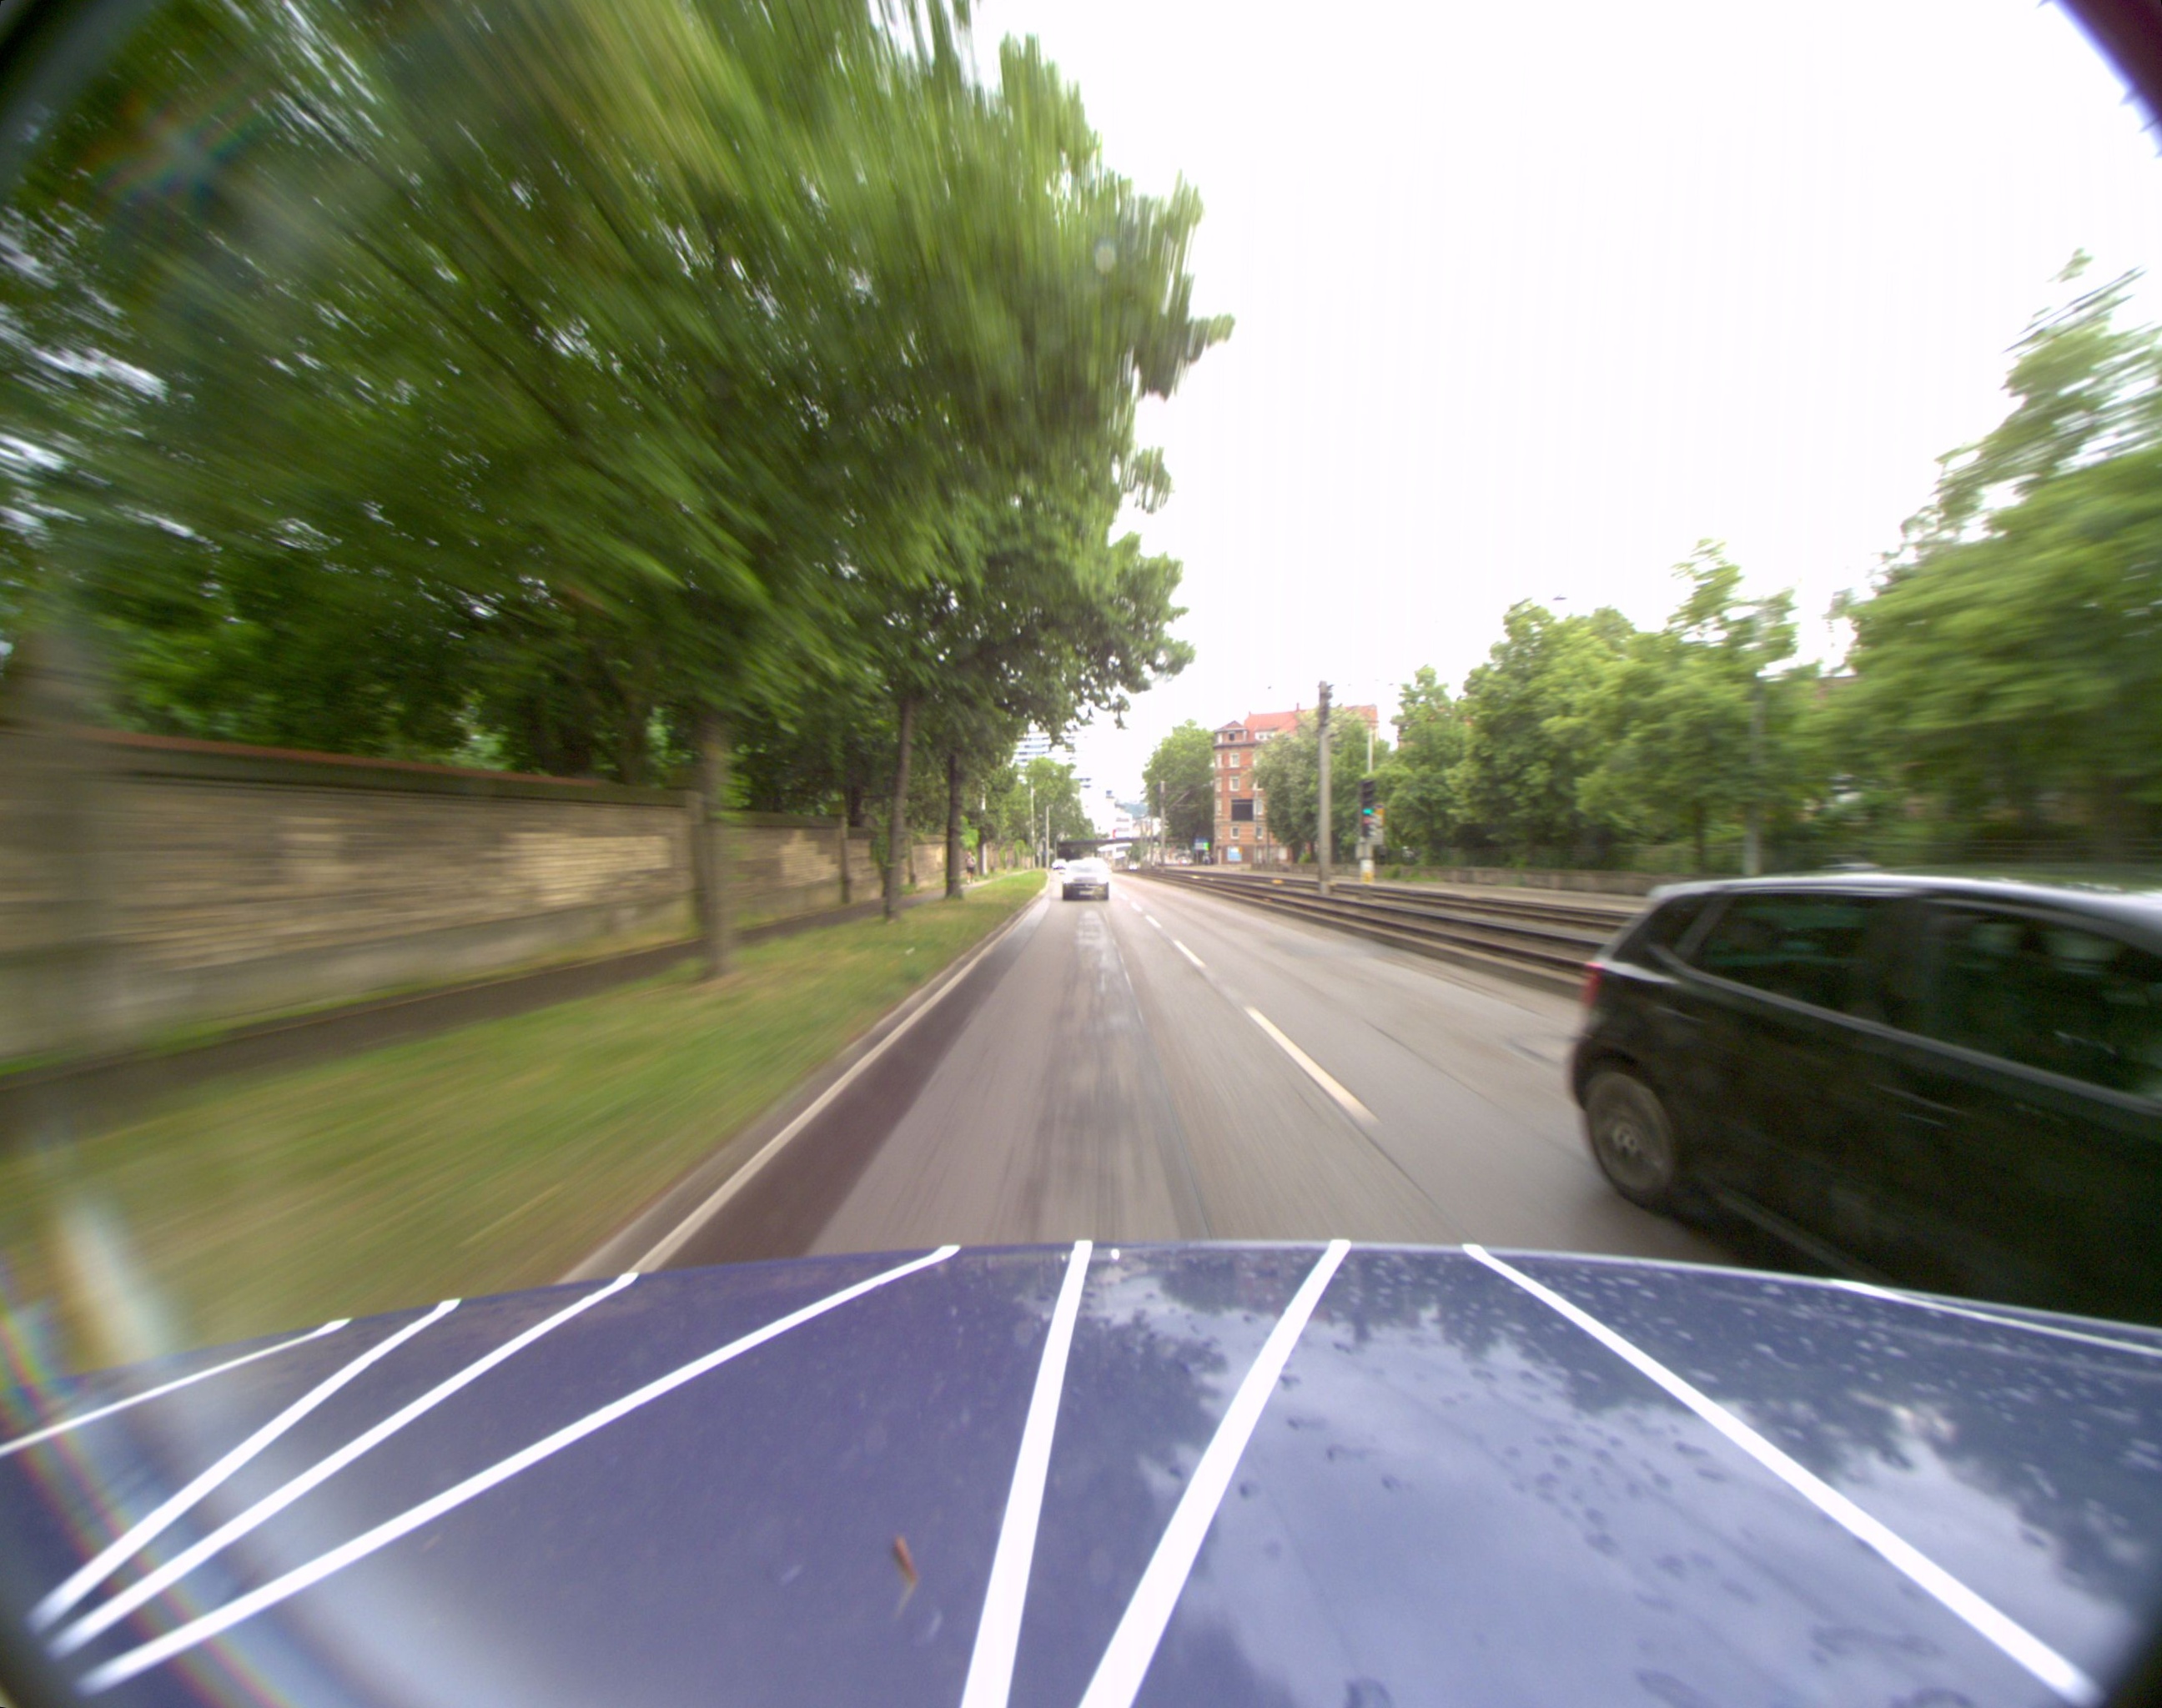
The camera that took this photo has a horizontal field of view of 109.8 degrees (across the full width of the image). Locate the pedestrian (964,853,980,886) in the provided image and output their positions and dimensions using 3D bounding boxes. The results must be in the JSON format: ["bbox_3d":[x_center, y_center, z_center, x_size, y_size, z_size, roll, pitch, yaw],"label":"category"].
[{"bbox_3d":[-6.014,0.855,41.883,0.710,1.769,0.900,-1,0,-2],"label":"pedestrian"}]

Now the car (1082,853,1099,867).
[{"bbox_3d":[1.039,0.635,83.755,1.807,1.483,4.102,-1,0,-1],"label":"car"}]

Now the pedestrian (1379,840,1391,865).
[{"bbox_3d":[23.849,-0.134,59.630,0.597,1.892,0.654,-2,1,-3],"label":"pedestrian"}]

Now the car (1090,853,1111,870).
[{"bbox_3d":[1.767,0.704,69.543,1.806,1.483,4.102,0,0,0],"label":"car"}]

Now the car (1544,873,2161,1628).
[{"bbox_3d":[3.092,0.829,1.601,1.798,1.477,3.964,0,0,-1],"label":"car"}]

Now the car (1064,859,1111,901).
[{"bbox_3d":[0.232,0.941,29.009,1.658,1.483,3.829,0,0,0],"label":"car"}]

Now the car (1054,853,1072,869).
[{"bbox_3d":[-2.319,0.873,98.727,1.998,2.002,4.000,-2,0,1],"label":"car"}]
